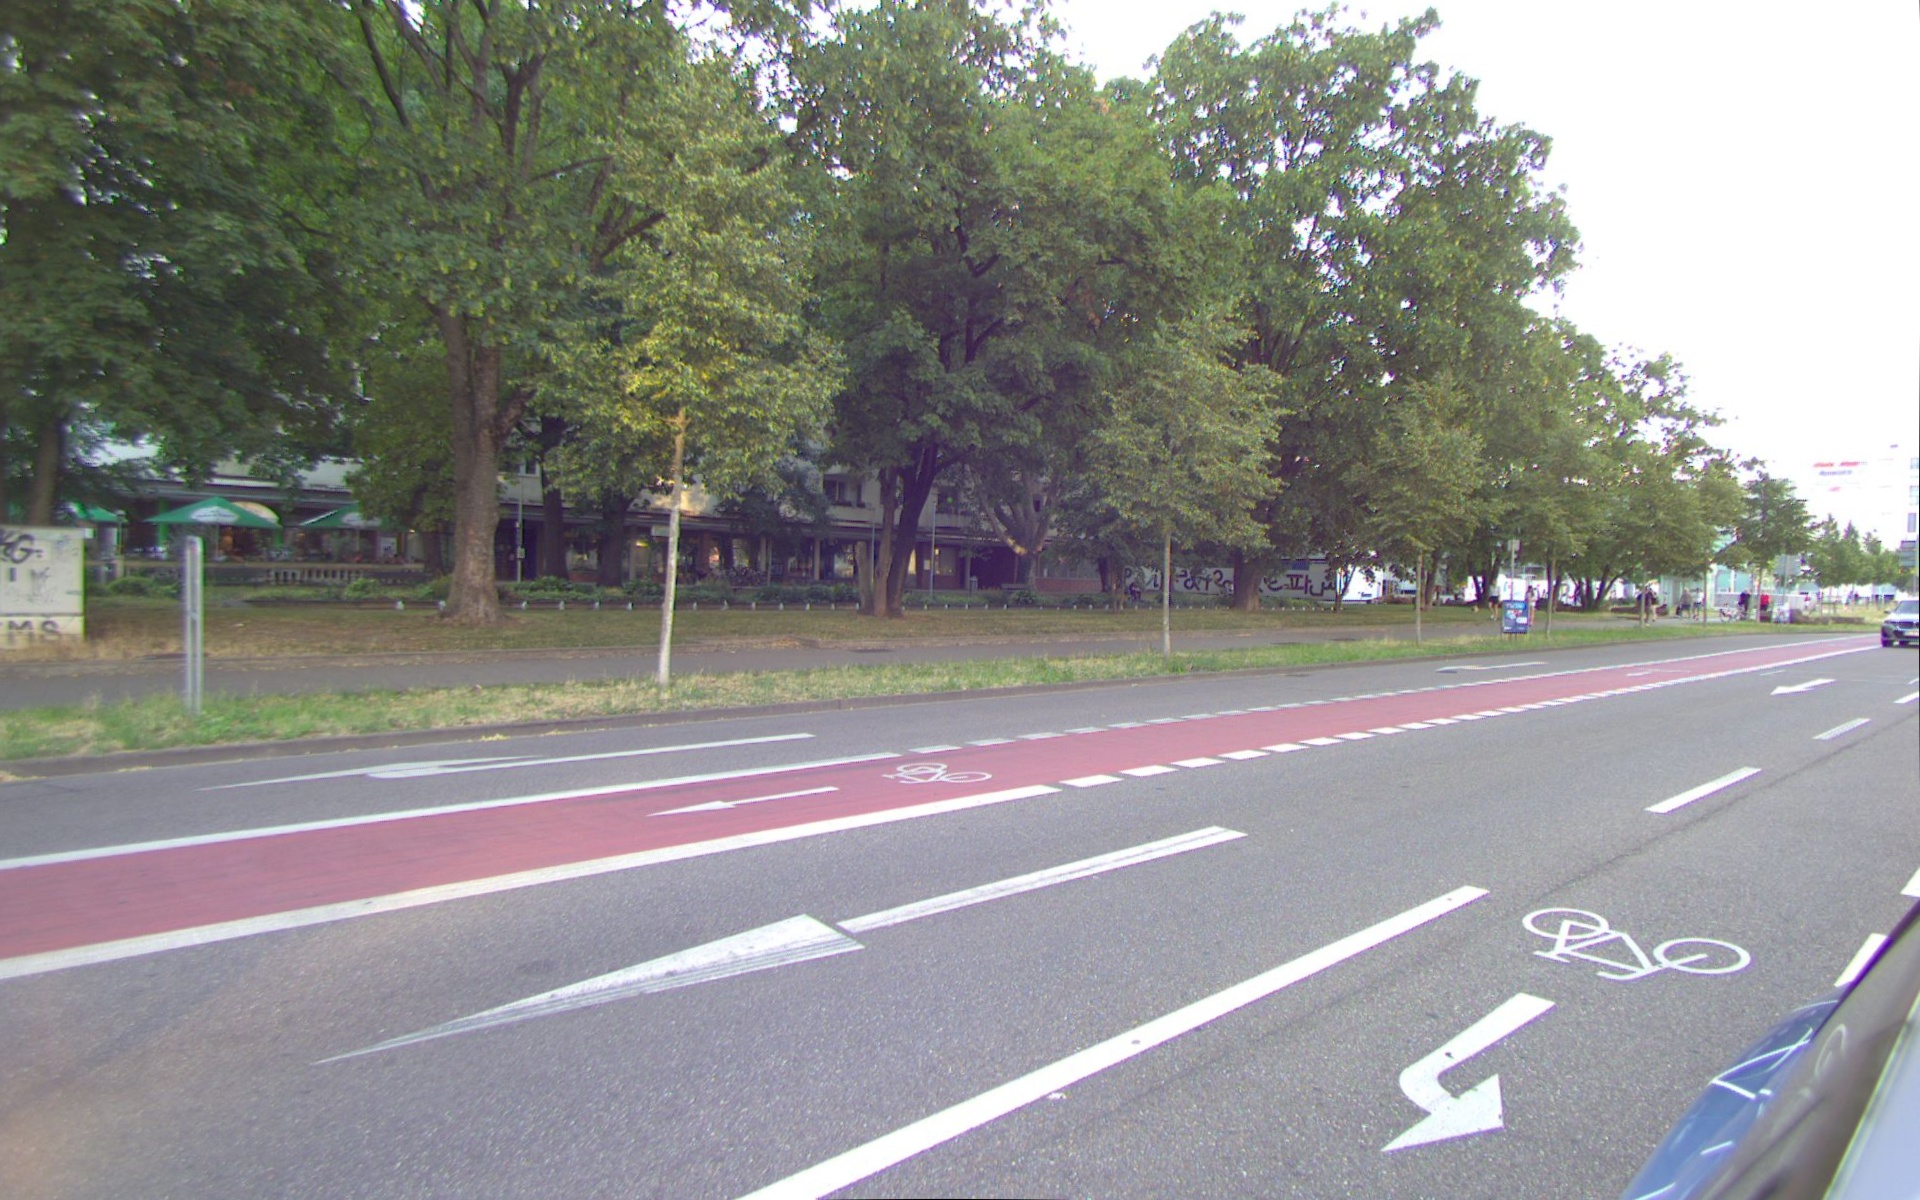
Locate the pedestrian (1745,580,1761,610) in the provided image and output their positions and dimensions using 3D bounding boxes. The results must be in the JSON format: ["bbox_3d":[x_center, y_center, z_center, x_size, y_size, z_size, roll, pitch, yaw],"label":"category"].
[{"bbox_3d":[49.084,-0.306,62.634,0.497,1.779,0.638,0,2,-40],"label":"pedestrian"}]

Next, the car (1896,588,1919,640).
[{"bbox_3d":[32.212,0.435,33.042,4.258,1.642,1.826,0,0,-38],"label":"car"}]

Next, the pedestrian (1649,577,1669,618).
[{"bbox_3d":[30.499,-0.133,44.160,0.546,1.760,0.558,0,2,-41],"label":"pedestrian"}]

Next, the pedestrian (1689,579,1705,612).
[{"bbox_3d":[39.872,-0.228,54.764,0.707,1.751,0.519,0,2,-40],"label":"pedestrian"}]

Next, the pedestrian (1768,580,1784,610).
[{"bbox_3d":[49.800,-0.288,61.763,0.497,1.779,0.638,0,2,-40],"label":"pedestrian"}]

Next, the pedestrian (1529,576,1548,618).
[{"bbox_3d":[22.706,-0.127,39.737,0.359,1.621,0.500,1,2,-40],"label":"pedestrian"}]

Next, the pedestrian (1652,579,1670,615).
[{"bbox_3d":[34.886,-0.170,50.349,0.707,1.751,0.508,0,2,-40],"label":"pedestrian"}]

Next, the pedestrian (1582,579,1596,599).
[{"bbox_3d":[44.349,-0.771,71.376,0.550,1.371,0.662,0,2,-40],"label":"pedestrian"}]

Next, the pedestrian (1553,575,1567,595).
[{"bbox_3d":[42.615,-1.066,71.847,0.669,1.371,0.631,0,2,-41],"label":"pedestrian"}]

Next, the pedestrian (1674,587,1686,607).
[{"bbox_3d":[50.183,-0.182,70.528,0.427,1.371,0.508,0,2,-40],"label":"pedestrian"}]

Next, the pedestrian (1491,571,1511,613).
[{"bbox_3d":[21.563,-0.325,40.305,0.513,1.621,0.500,0,2,-41],"label":"pedestrian"}]

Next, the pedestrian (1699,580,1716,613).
[{"bbox_3d":[39.955,-0.197,54.085,0.707,1.751,0.508,0,2,-40],"label":"pedestrian"}]
